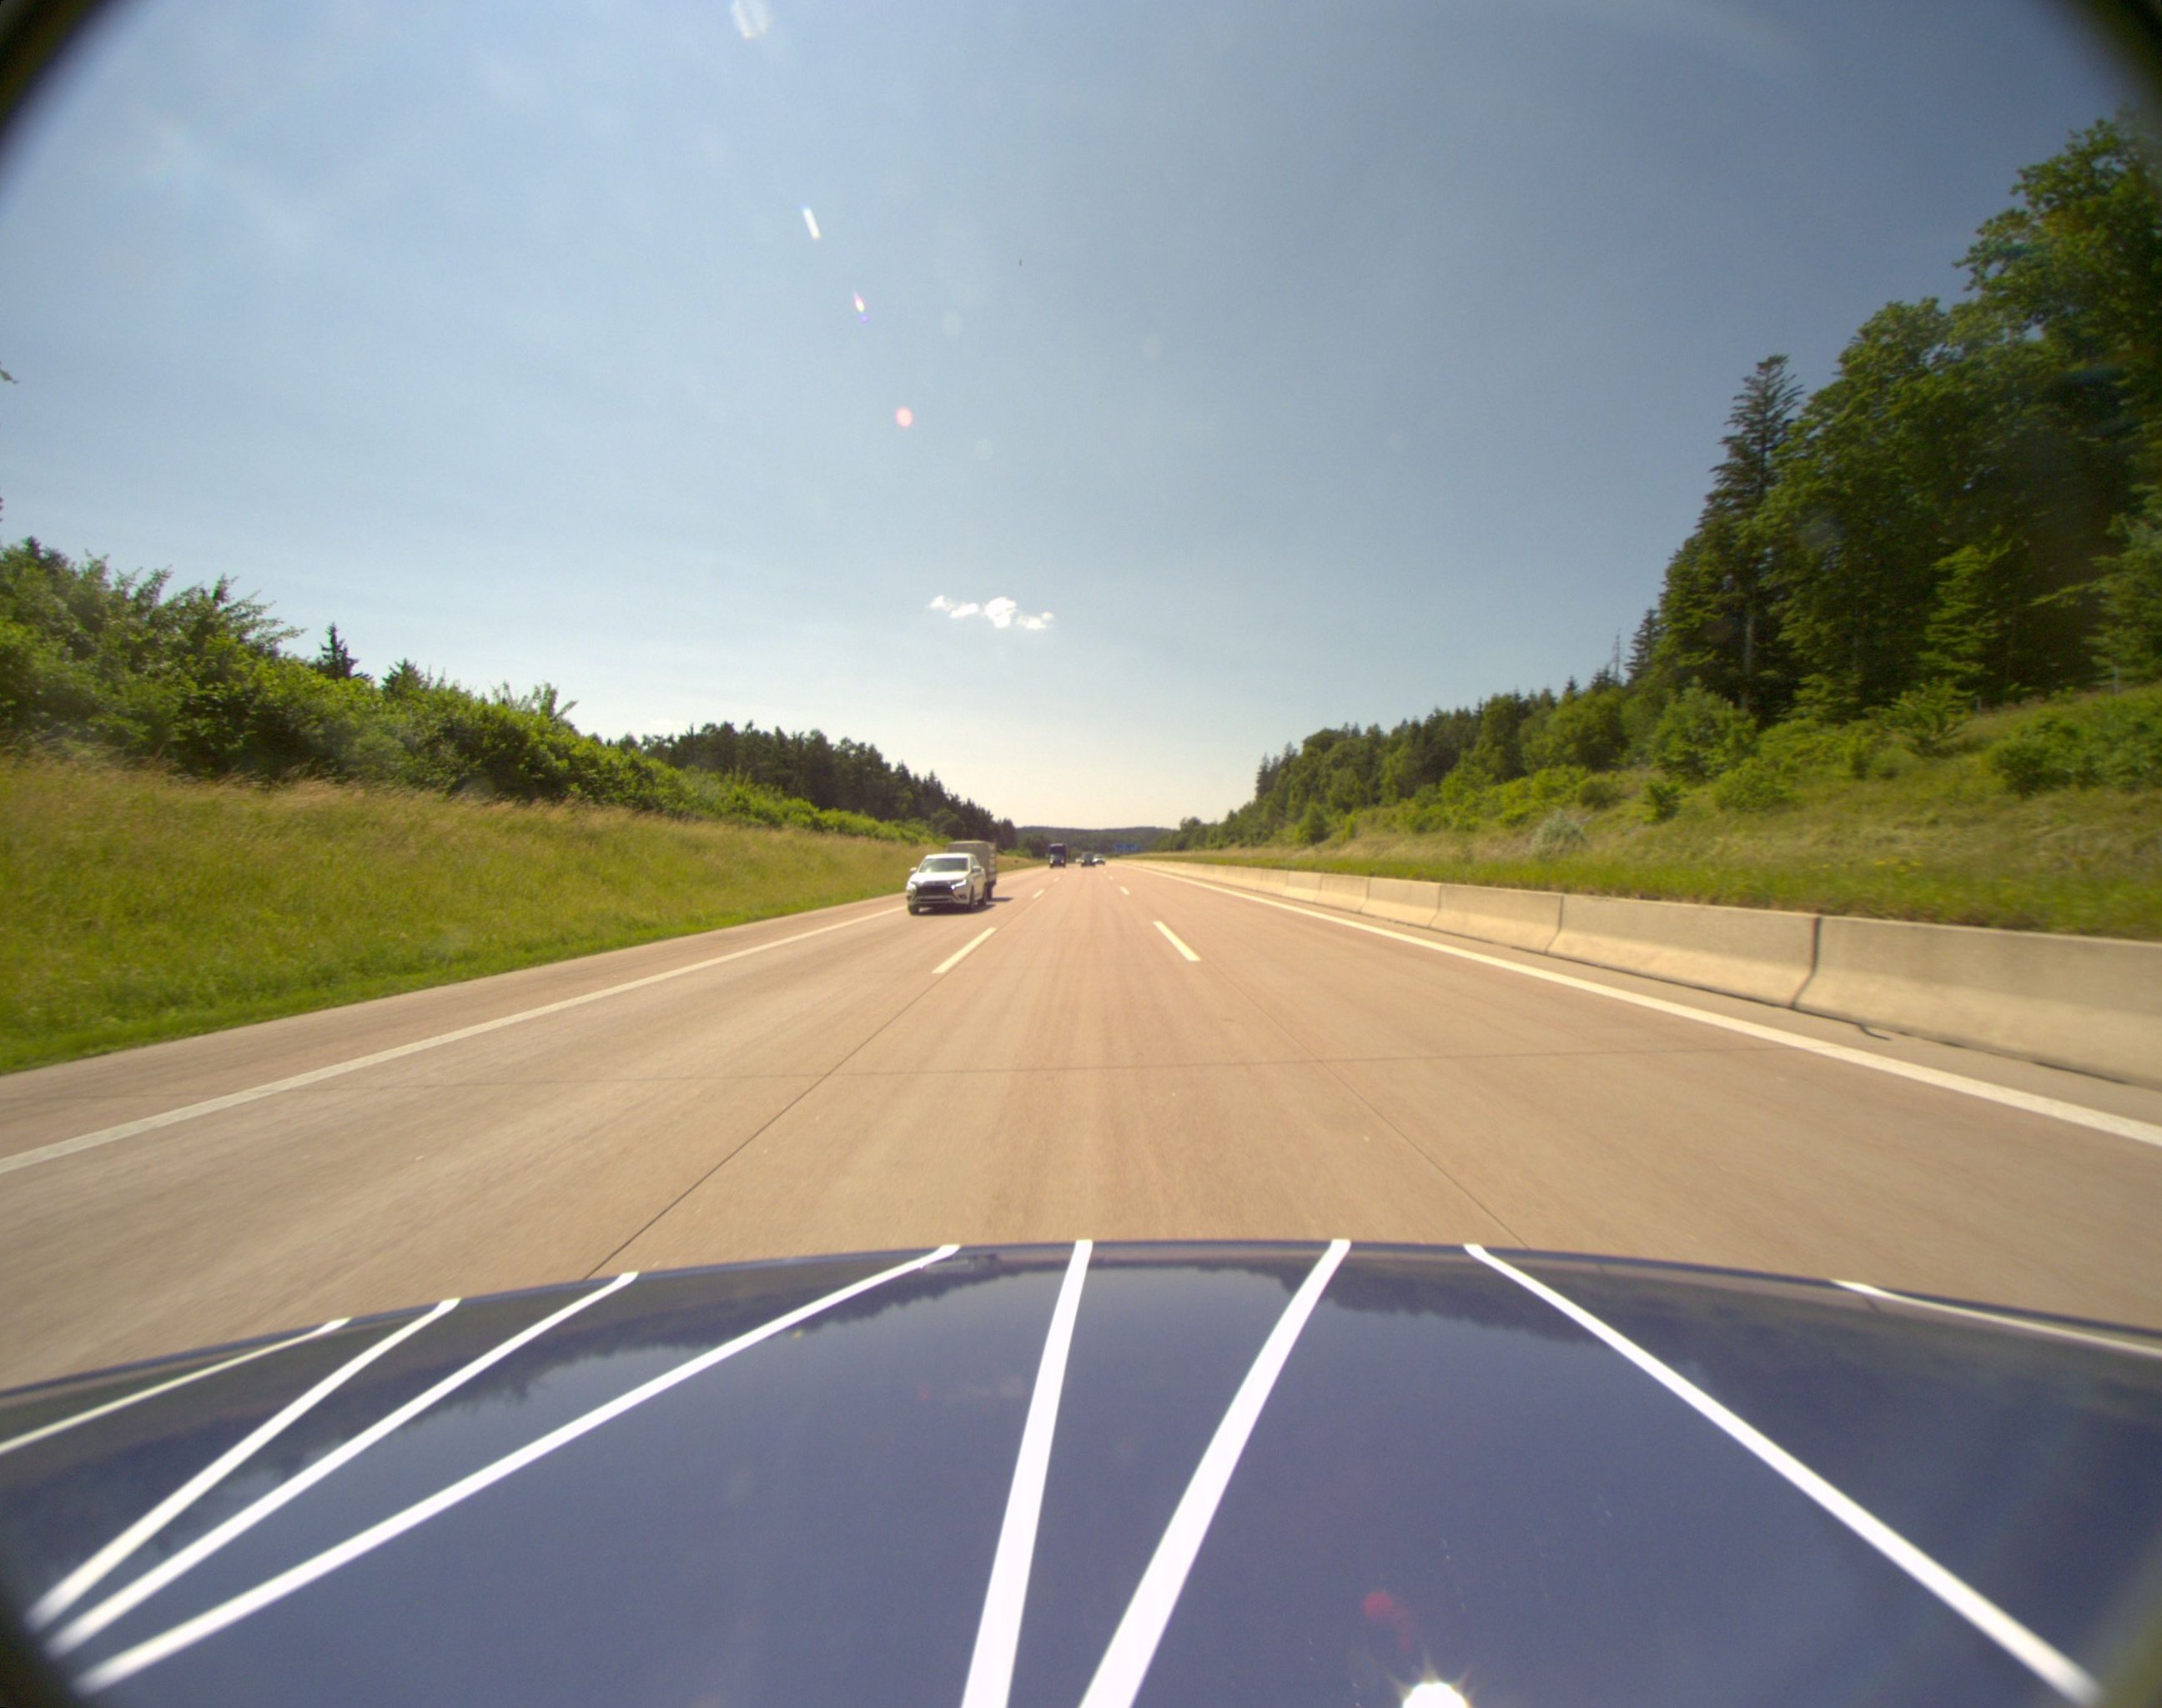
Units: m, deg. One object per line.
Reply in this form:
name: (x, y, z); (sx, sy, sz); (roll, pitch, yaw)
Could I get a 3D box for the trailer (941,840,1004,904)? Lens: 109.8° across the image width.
trailer: (-3.885, 0.608, 27.810); (1.662, 2.151, 4.015); (-2, 0, 0)

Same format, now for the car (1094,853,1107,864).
car: (3.152, 0.775, 122.886); (1.895, 1.718, 4.564); (-2, 0, 0)

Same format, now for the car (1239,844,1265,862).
car: (20.344, -0.061, 90.780); (1.896, 2.052, 4.663); (-2, 0, -1)

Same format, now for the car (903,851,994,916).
car: (-3.888, 0.796, 23.257); (1.896, 1.718, 5.185); (-2, 0, -1)

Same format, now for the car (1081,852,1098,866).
car: (1.138, 0.688, 102.029); (1.998, 1.805, 4.565); (-2, 0, 3)

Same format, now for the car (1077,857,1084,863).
car: (-0.133, 1.882, 245.387); (1.998, 2.002, 4.000); (-2, 0, 0)

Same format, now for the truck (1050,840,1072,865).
truck: (-2.710, -0.179, 103.806); (2.508, 3.199, 7.785); (-2, 0, 2)
